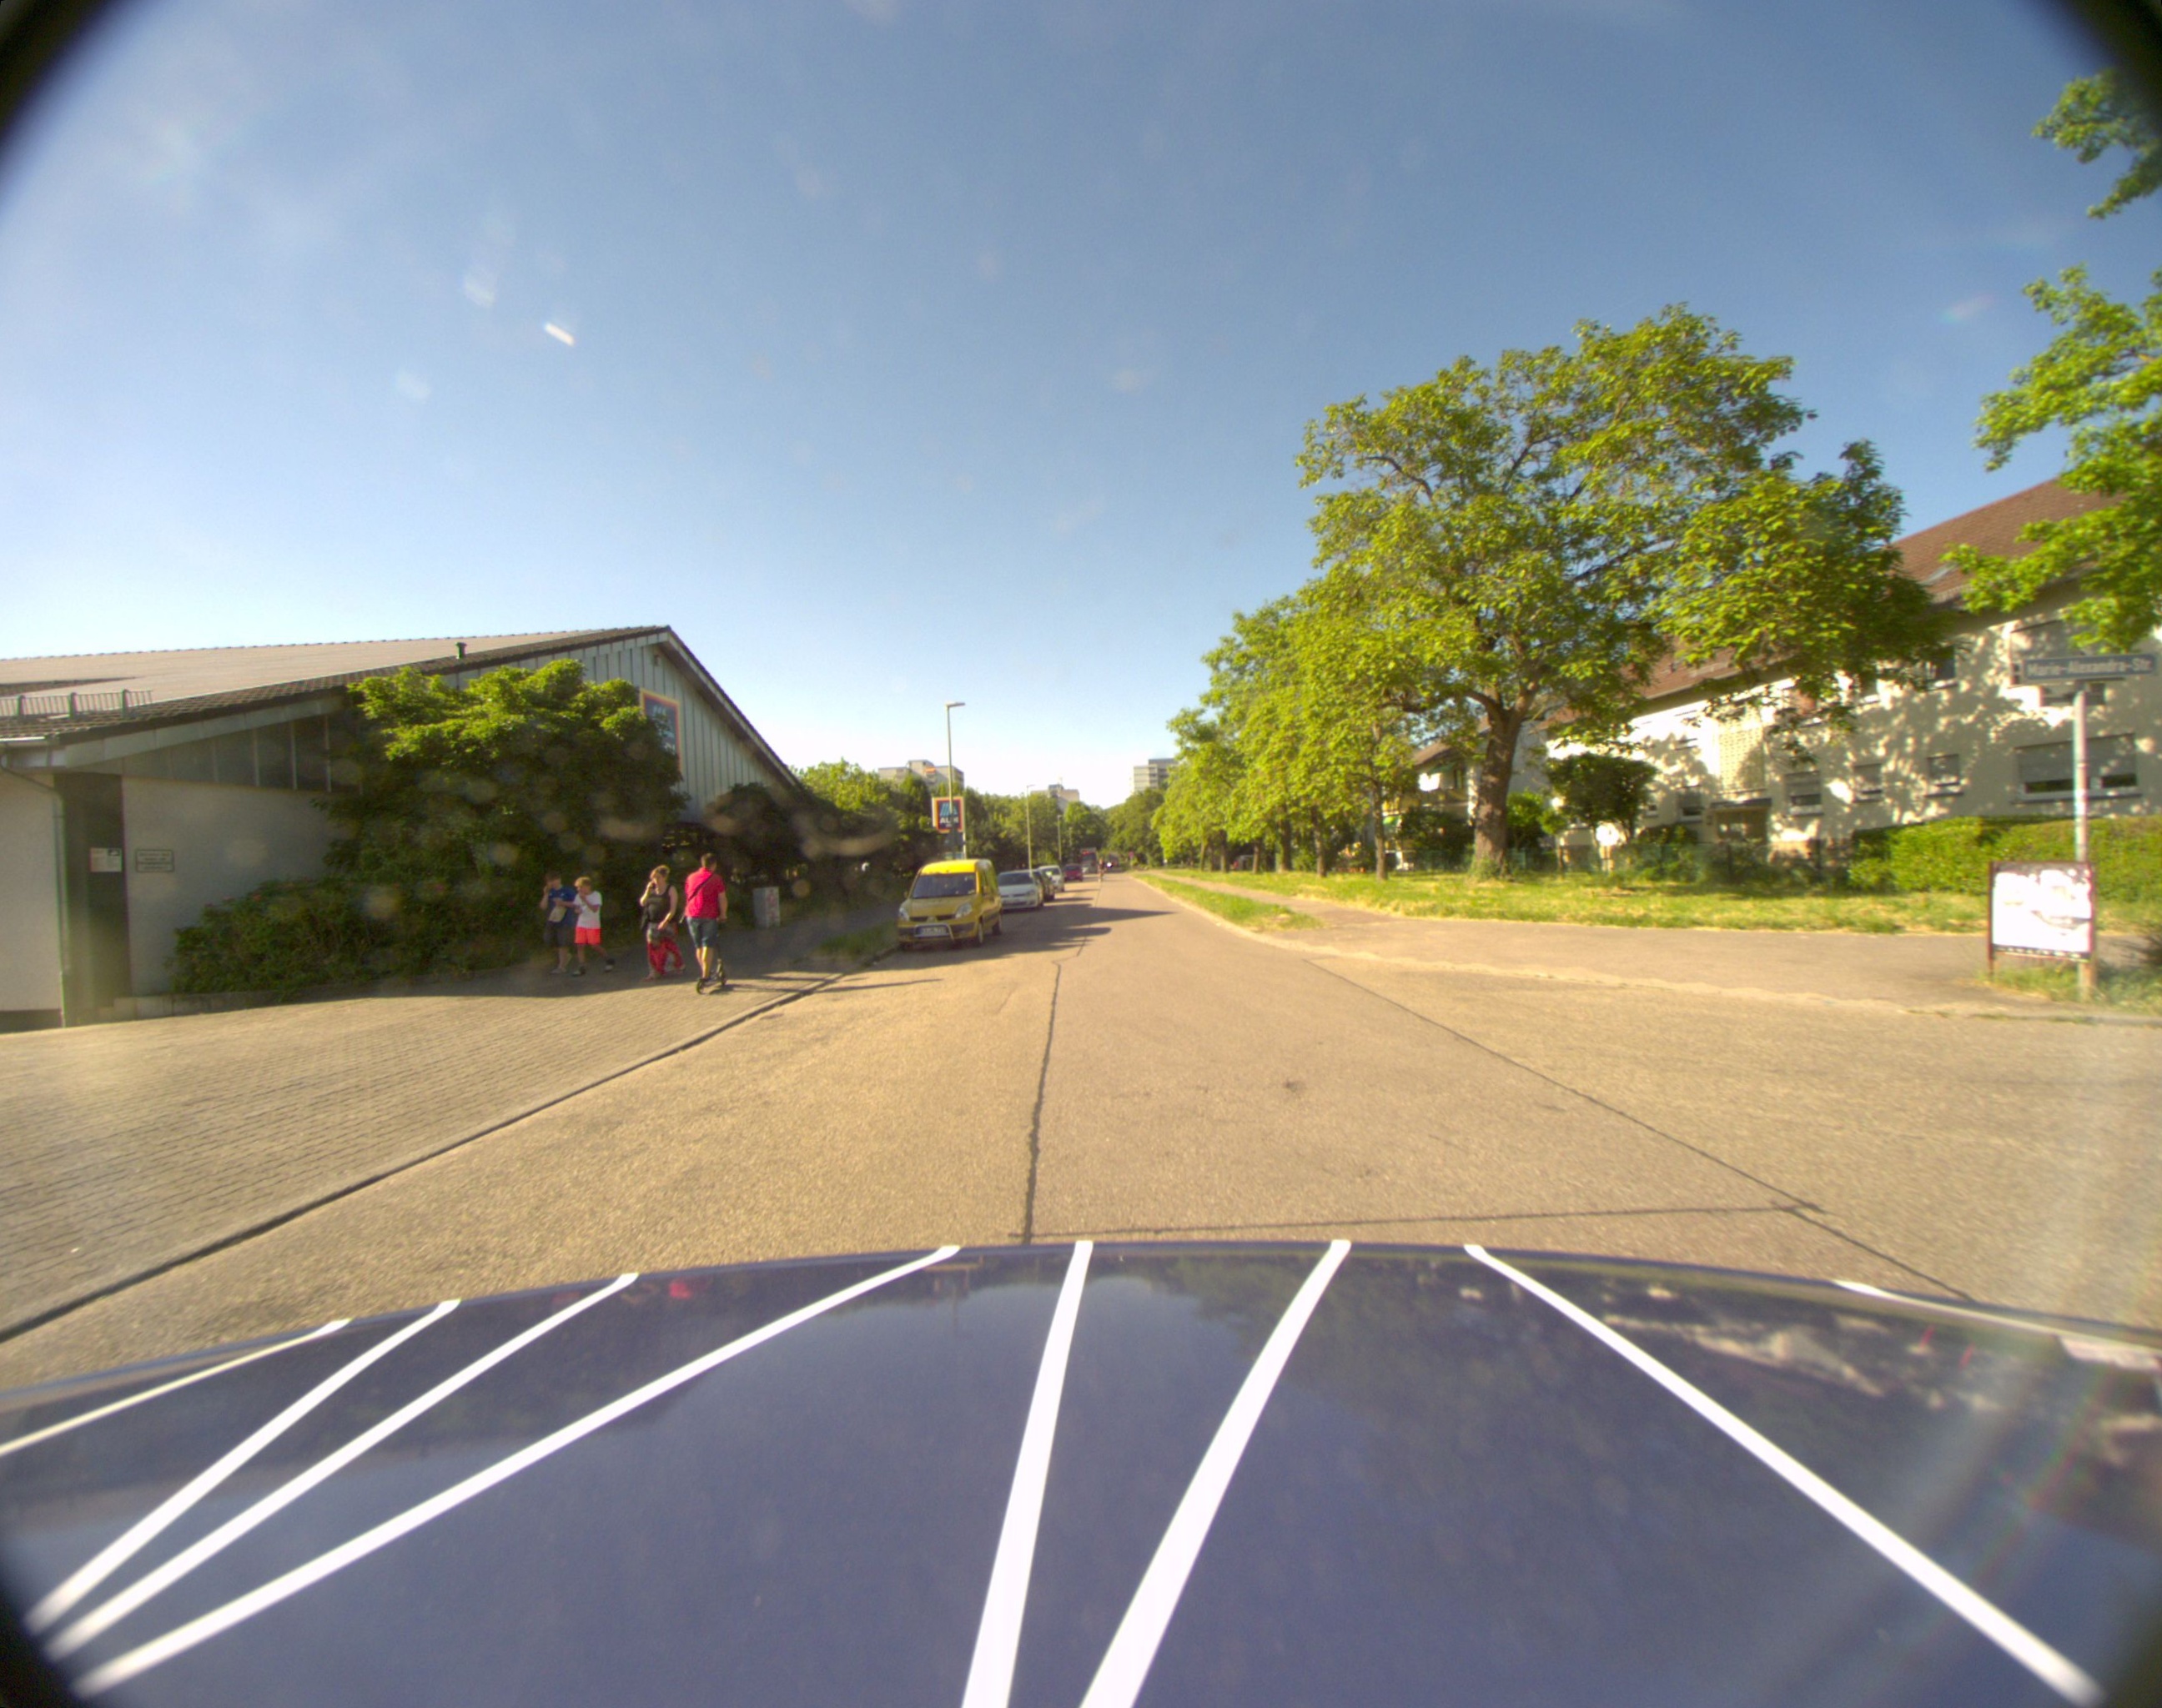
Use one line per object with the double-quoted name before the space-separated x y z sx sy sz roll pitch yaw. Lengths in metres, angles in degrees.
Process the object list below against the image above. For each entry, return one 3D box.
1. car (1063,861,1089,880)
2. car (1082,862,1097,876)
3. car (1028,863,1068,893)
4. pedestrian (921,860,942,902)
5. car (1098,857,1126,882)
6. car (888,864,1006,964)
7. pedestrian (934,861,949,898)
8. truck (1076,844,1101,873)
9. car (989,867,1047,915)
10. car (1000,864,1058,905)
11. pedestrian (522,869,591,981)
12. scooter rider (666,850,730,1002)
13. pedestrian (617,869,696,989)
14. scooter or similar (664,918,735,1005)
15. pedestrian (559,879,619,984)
"car" -0.418 1.503 71.850 1.998 1.587 4.579 -2 0 4
"car" 1.266 2.148 109.711 1.998 1.737 4.001 -2 0 2
"car" -1.913 1.408 45.227 1.998 1.587 4.578 -3 -1 2
"pedestrian" -6.368 1.135 32.359 0.673 1.758 0.590 -2 0 1
"car" 2.605 1.316 64.818 1.965 1.908 4.576 -3 1 -2
"car" -2.712 1.161 16.259 1.621 1.766 3.982 -3 0 2
"pedestrian" -6.741 1.230 36.685 0.541 1.758 0.590 -2 0 1
"truck" 1.347 0.797 126.732 3.601 4.543 10.025 -2 0 2
"car" -2.237 1.301 27.890 1.621 1.478 3.982 -3 0 2
"car" -2.223 1.282 33.638 1.998 1.587 4.579 -3 -1 2
"pedestrian" -8.036 1.064 11.661 0.583 1.654 0.642 2 0 -1
"scooter rider" -5.184 0.956 10.308 0.599 2.002 0.486 1 0 -4
"pedestrian" -6.267 1.077 11.255 0.635 1.679 0.896 2 0 -1
"scooter or similar" -5.172 1.437 10.347 0.457 1.024 1.049 2 0 -4
"pedestrian" -7.442 1.153 11.513 0.447 1.524 0.666 2 1 -1
